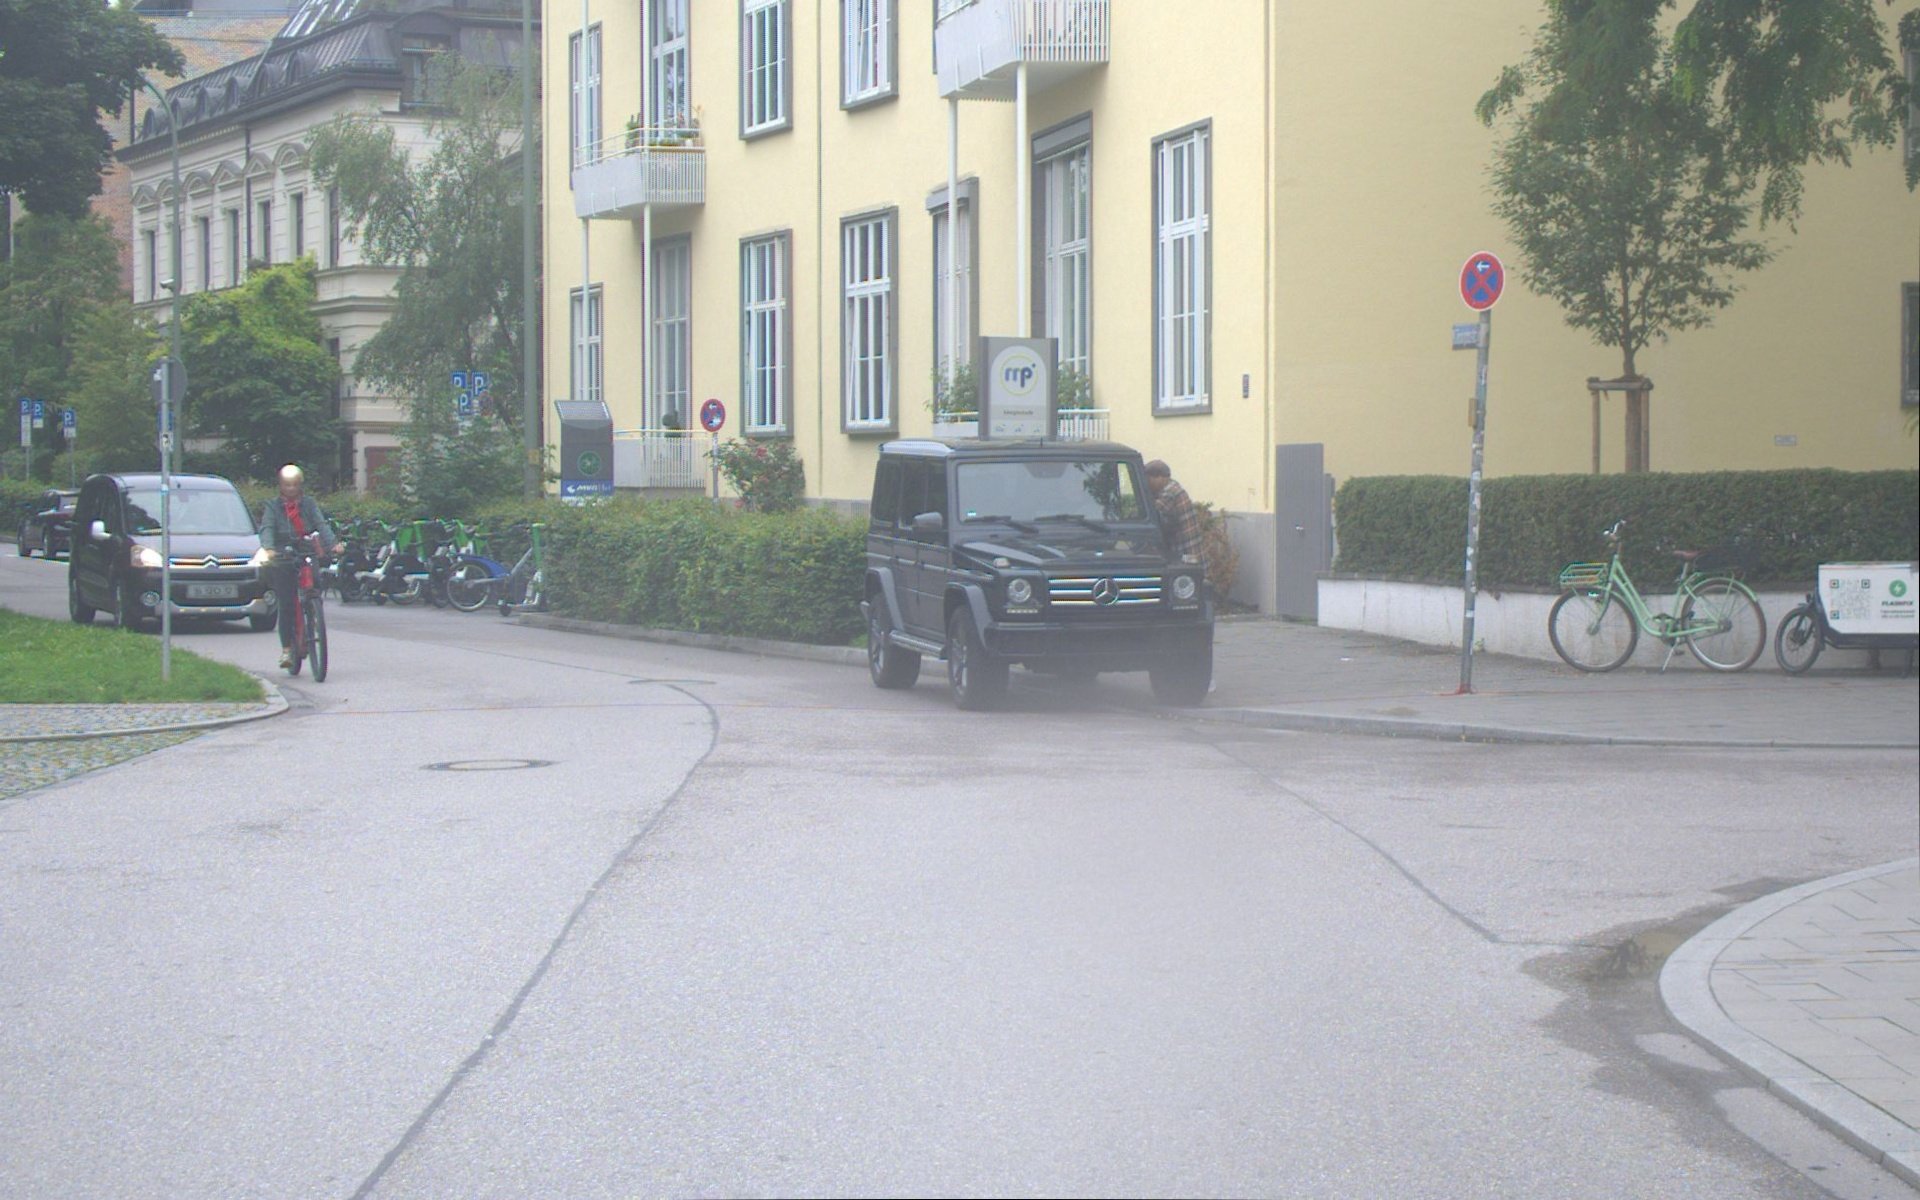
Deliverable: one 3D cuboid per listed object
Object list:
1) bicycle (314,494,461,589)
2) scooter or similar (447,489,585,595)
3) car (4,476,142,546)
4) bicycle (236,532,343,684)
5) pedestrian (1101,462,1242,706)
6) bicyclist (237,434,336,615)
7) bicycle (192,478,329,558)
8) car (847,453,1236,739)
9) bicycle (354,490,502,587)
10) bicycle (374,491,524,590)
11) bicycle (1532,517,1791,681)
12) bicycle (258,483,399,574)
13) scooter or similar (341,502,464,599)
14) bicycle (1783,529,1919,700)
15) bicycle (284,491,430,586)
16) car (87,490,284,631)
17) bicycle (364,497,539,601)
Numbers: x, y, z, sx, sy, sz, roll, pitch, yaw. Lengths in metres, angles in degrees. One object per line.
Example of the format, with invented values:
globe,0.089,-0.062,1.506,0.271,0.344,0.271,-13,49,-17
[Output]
bicycle,-8.064,-0.839,48.497,0.733,1.301,2.152,1,3,35
scooter or similar,-5.619,-0.755,43.666,0.733,1.301,2.154,1,2,23
car,-18.143,-1.824,70.201,1.993,1.367,4.001,-1,2,-25
bicycle,-5.779,0.043,29.556,0.743,1.210,2.145,-1,2,-15
pedestrian,1.594,-0.136,26.010,0.874,1.817,0.799,0,2,-12
bicyclist,-5.791,-0.654,29.548,0.743,1.515,0.946,-1,2,-15
bicycle,-11.557,-1.363,56.819,2.148,1.301,0.735,-1,2,-17
car,0.505,-0.109,25.966,1.762,1.868,4.381,3,2,-14
bicycle,-7.340,-0.865,47.542,0.733,1.301,2.152,1,3,35
bicycle,-6.924,-0.822,46.688,0.733,1.301,2.152,1,3,35
bicycle,5.326,-0.026,26.198,0.594,1.197,1.927,-2,2,-45
bicycle,-9.336,-1.072,50.932,0.733,1.301,2.152,1,3,35
scooter or similar,-7.761,-0.699,47.931,0.733,1.301,1.727,1,3,32
bicycle,7.031,0.105,24.743,2.070,1.197,0.595,1,2,22
bicycle,-8.612,-0.894,49.190,0.733,1.301,2.152,1,3,35
car,-8.842,-0.495,39.035,1.914,1.466,4.002,0,2,-16
bicycle,-6.583,-0.676,44.582,2.149,1.301,0.734,-2,3,-38
